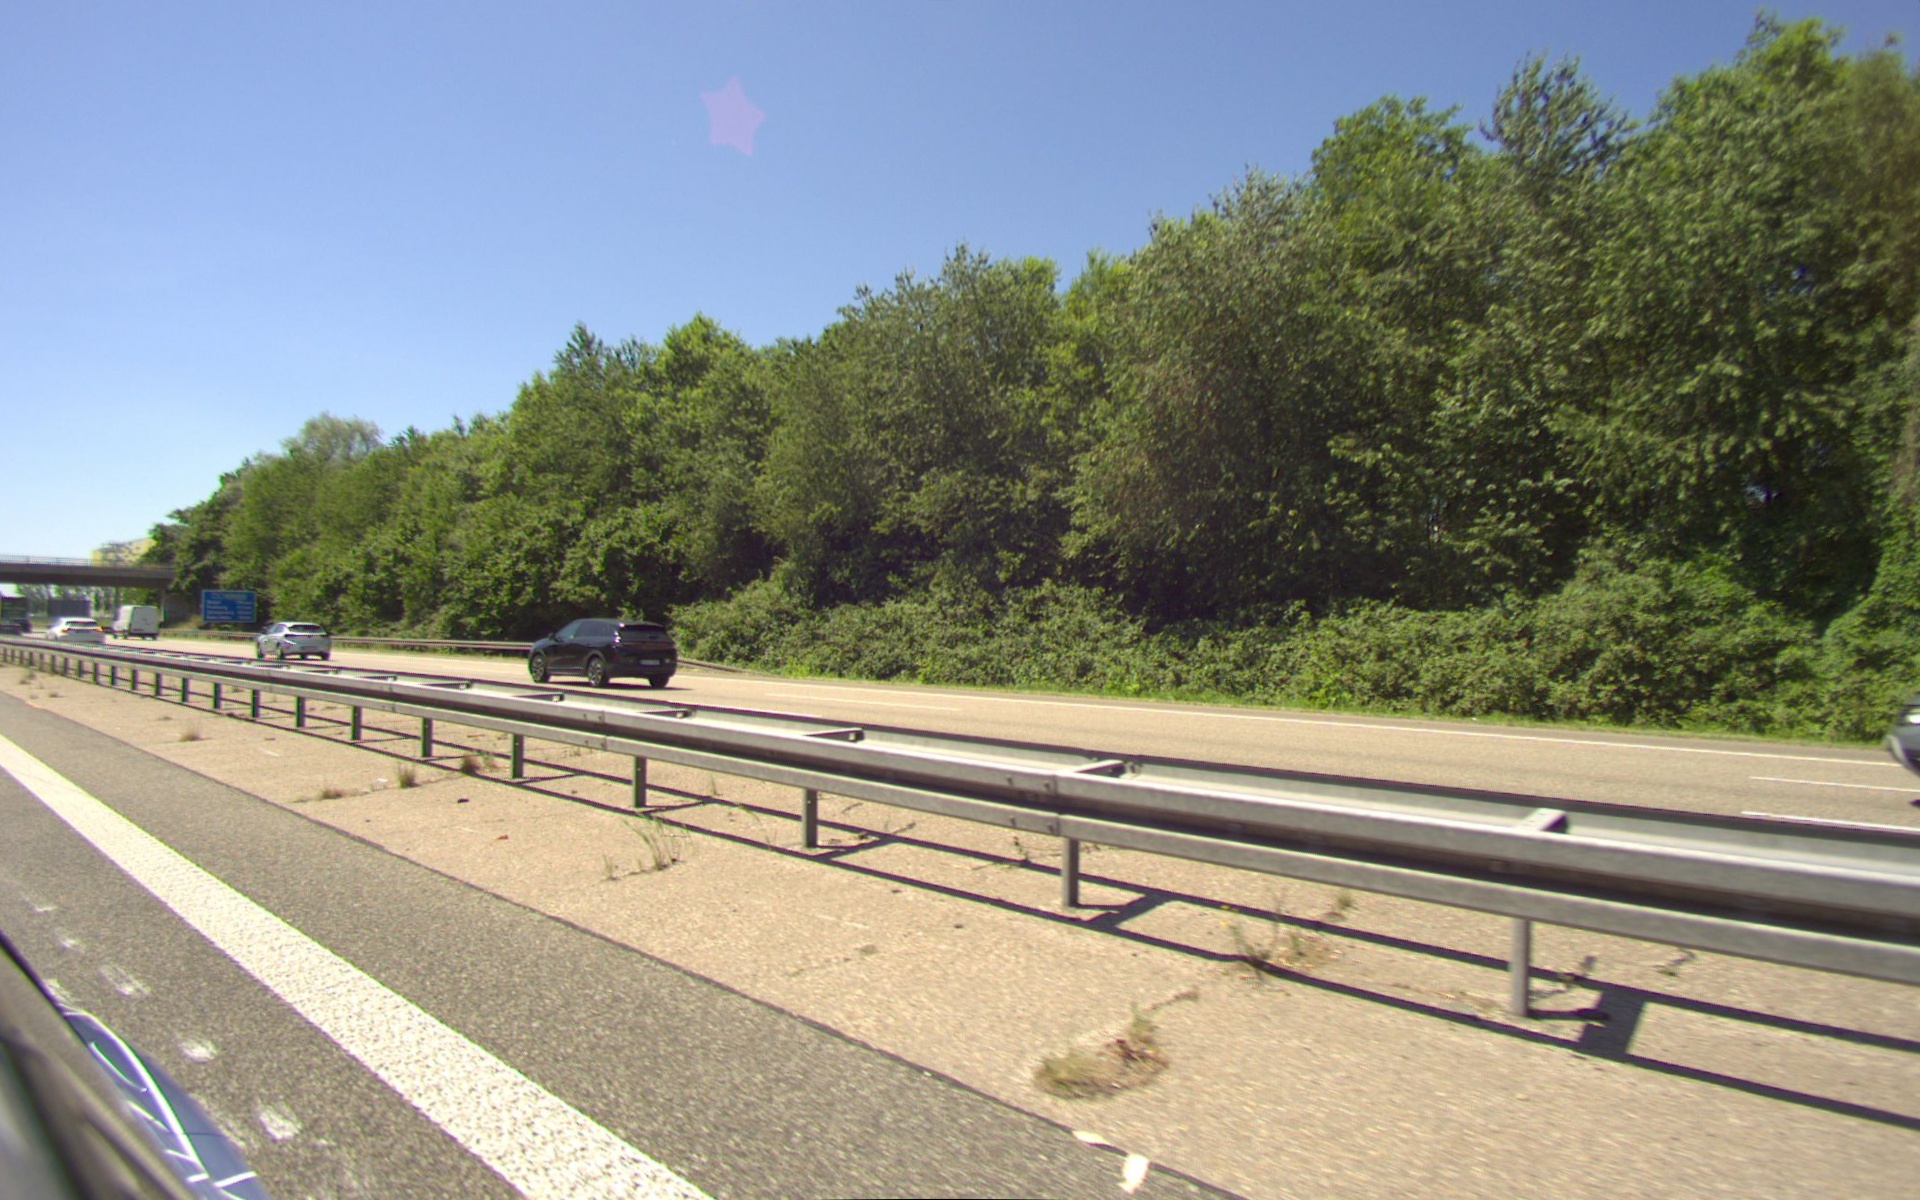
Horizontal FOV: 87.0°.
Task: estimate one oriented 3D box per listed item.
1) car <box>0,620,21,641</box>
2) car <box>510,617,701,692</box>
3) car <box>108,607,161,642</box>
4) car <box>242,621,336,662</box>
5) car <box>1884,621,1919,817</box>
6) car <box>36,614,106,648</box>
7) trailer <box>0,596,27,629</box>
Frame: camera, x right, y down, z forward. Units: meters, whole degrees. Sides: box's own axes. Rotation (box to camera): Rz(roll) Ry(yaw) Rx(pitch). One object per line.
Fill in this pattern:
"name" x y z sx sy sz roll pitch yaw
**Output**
"car" -67.210 2.130 70.764 4.425 1.393 1.819 -1 -3 41
"car" -8.804 1.301 24.910 4.925 1.664 2.251 -1 -4 41
"car" -63.728 1.891 78.085 6.224 2.572 2.065 -1 -3 41
"car" -26.333 1.589 39.658 4.819 1.535 1.801 -1 -2 40
"car" 10.374 1.010 7.720 4.794 1.643 1.801 -1 -3 40
"car" -42.235 1.477 48.048 4.819 1.535 1.801 -1 -2 40
"trailer" -124.922 1.627 131.980 12.734 4.090 3.184 -1 -2 41
